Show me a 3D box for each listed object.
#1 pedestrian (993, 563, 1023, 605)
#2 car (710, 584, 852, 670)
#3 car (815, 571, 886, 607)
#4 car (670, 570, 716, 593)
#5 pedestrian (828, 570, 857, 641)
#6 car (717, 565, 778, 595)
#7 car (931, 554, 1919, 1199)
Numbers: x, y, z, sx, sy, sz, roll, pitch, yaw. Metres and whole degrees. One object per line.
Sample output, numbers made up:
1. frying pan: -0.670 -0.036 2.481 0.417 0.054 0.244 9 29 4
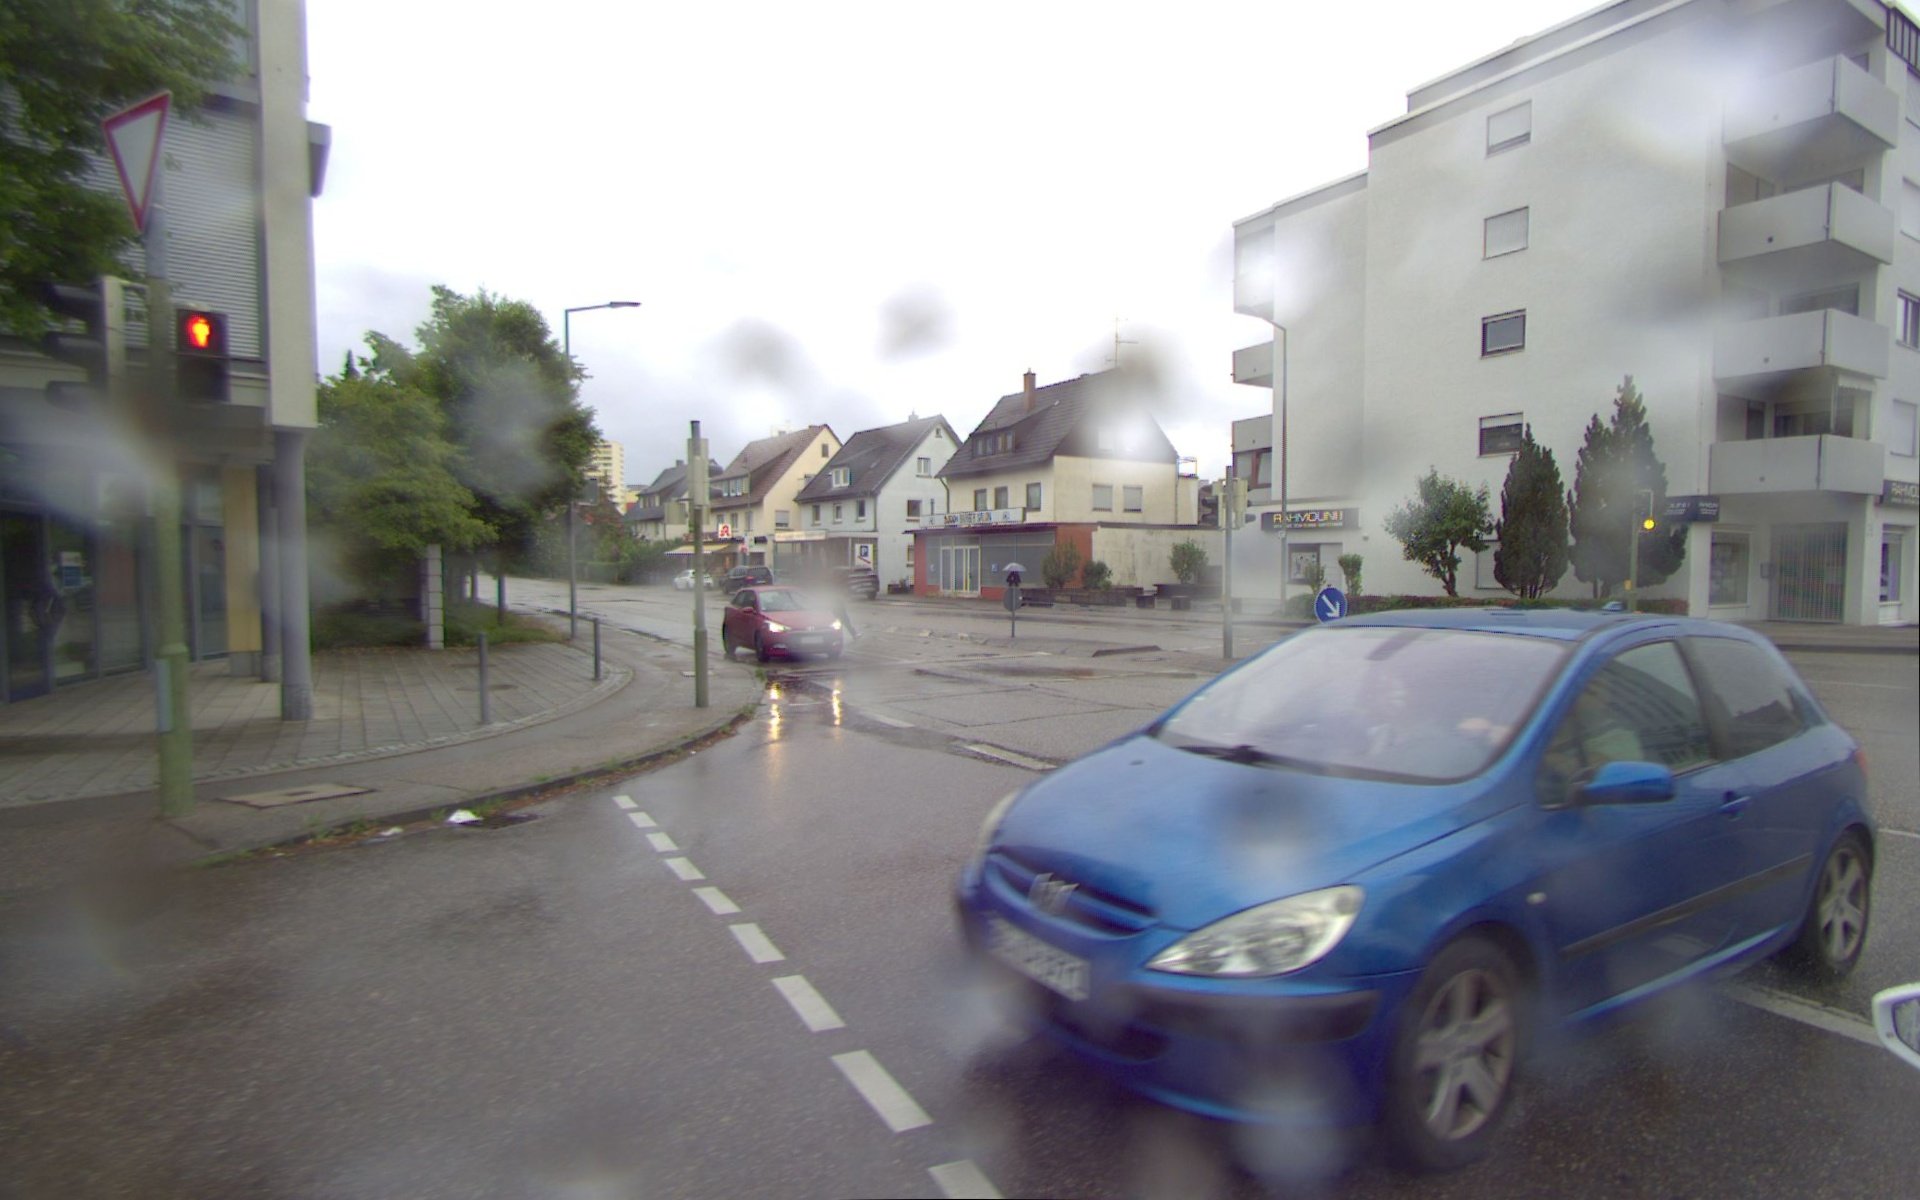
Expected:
1. pedestrian: 1.863 -0.604 38.928 0.746 1.589 0.985 1 0 -30
2. car: -3.906 0.476 21.395 1.759 1.527 4.073 -4 3 -28
3. car: -5.679 -0.609 51.710 1.858 1.665 4.754 -4 3 -29
4. car: -18.707 -1.324 70.223 1.802 1.468 4.162 -4 4 -34
5. pedestrian: -2.934 0.131 25.060 0.657 1.725 0.945 0 1 -11
6. car: -13.219 -1.242 62.209 2.020 1.718 4.917 -4 3 -33
7. car: 2.049 0.712 4.003 3.957 1.464 1.757 3 -1 -33
